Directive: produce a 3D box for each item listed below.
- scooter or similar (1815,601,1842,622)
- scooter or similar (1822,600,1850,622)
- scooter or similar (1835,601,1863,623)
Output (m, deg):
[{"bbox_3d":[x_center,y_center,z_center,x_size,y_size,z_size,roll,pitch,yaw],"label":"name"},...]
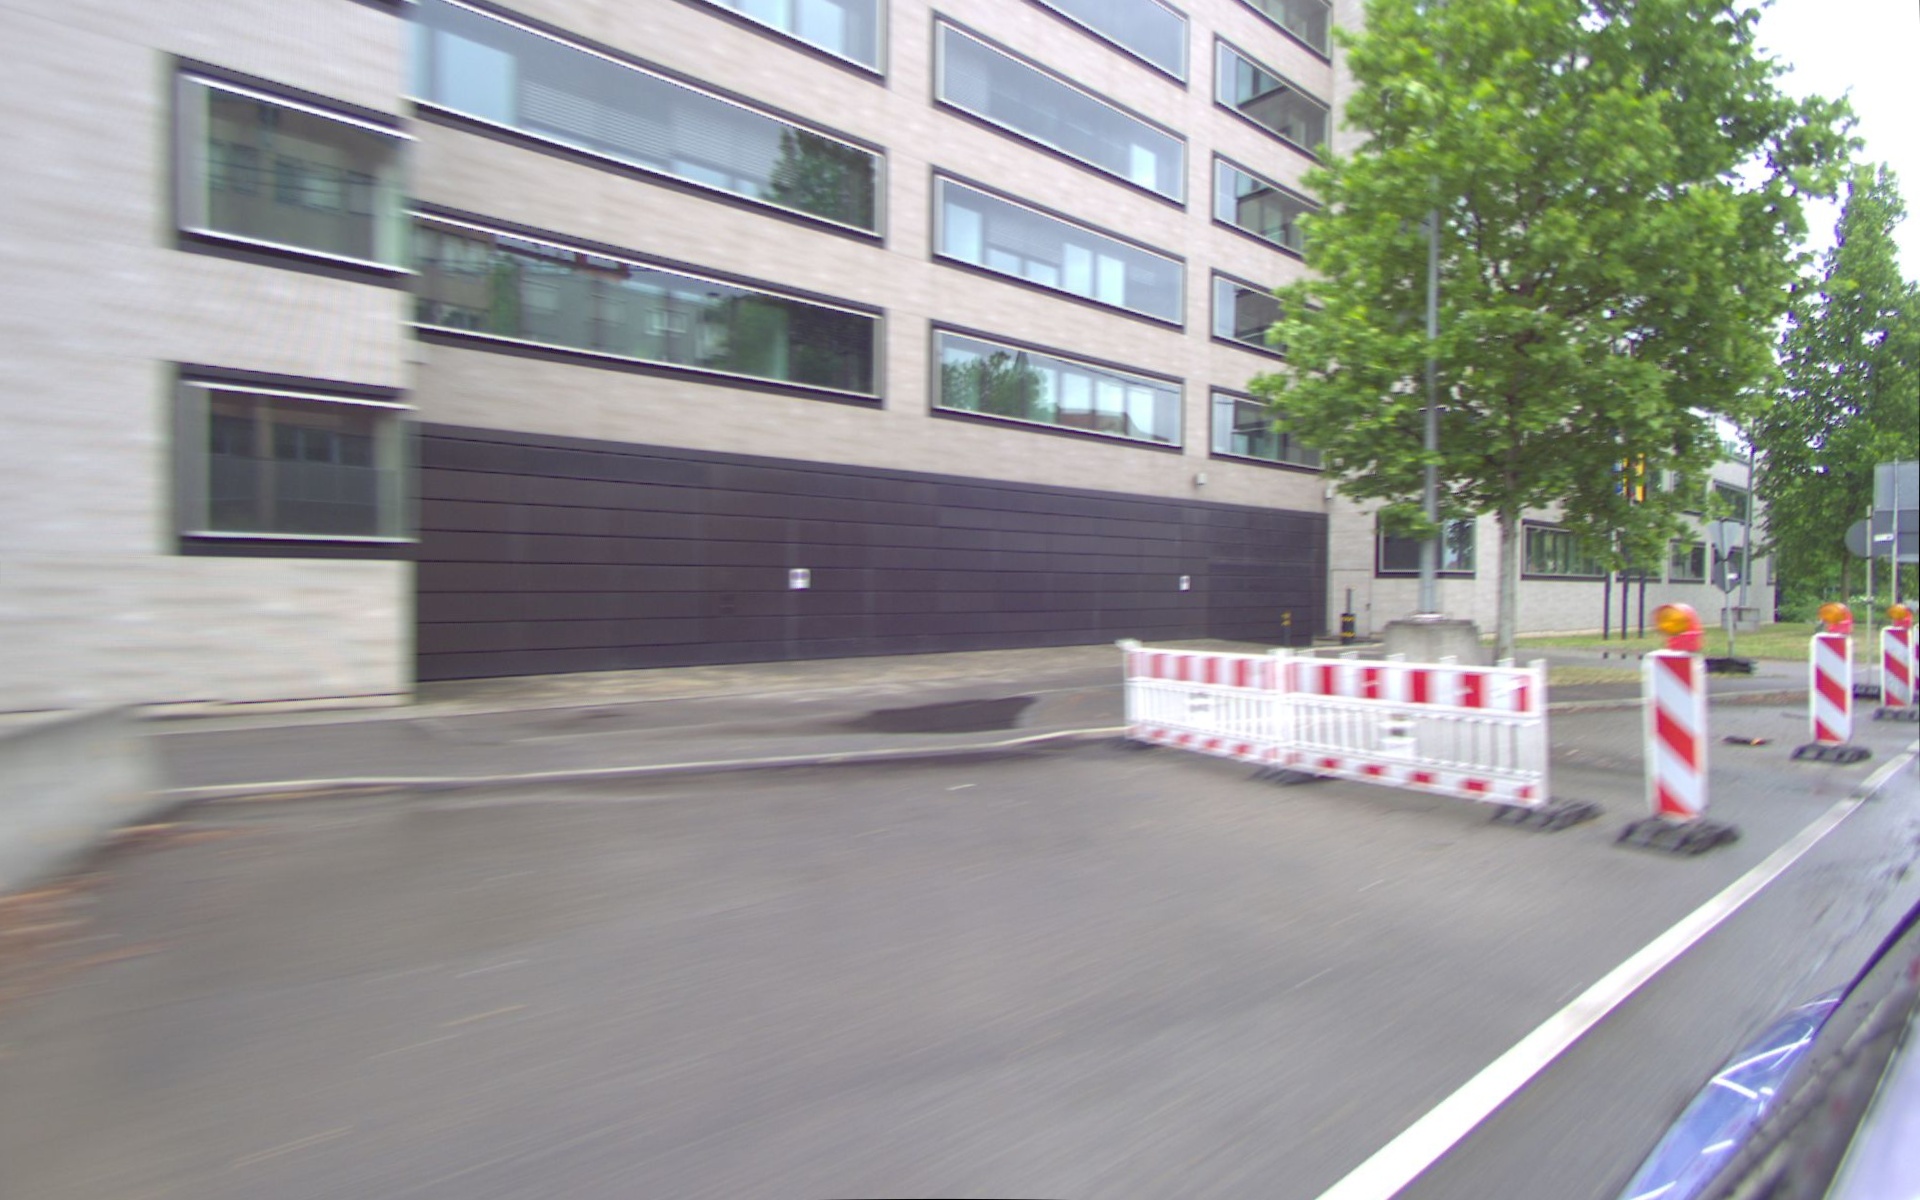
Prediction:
[{"bbox_3d":[56.002,0.740,65.265,0.464,1.329,1.238,0,2,-44],"label":"scooter or similar"},{"bbox_3d":[55.912,0.709,64.592,0.464,1.329,1.238,0,2,-44],"label":"scooter or similar"},{"bbox_3d":[55.986,0.722,63.734,0.545,1.329,1.238,0,2,-44],"label":"scooter or similar"}]
